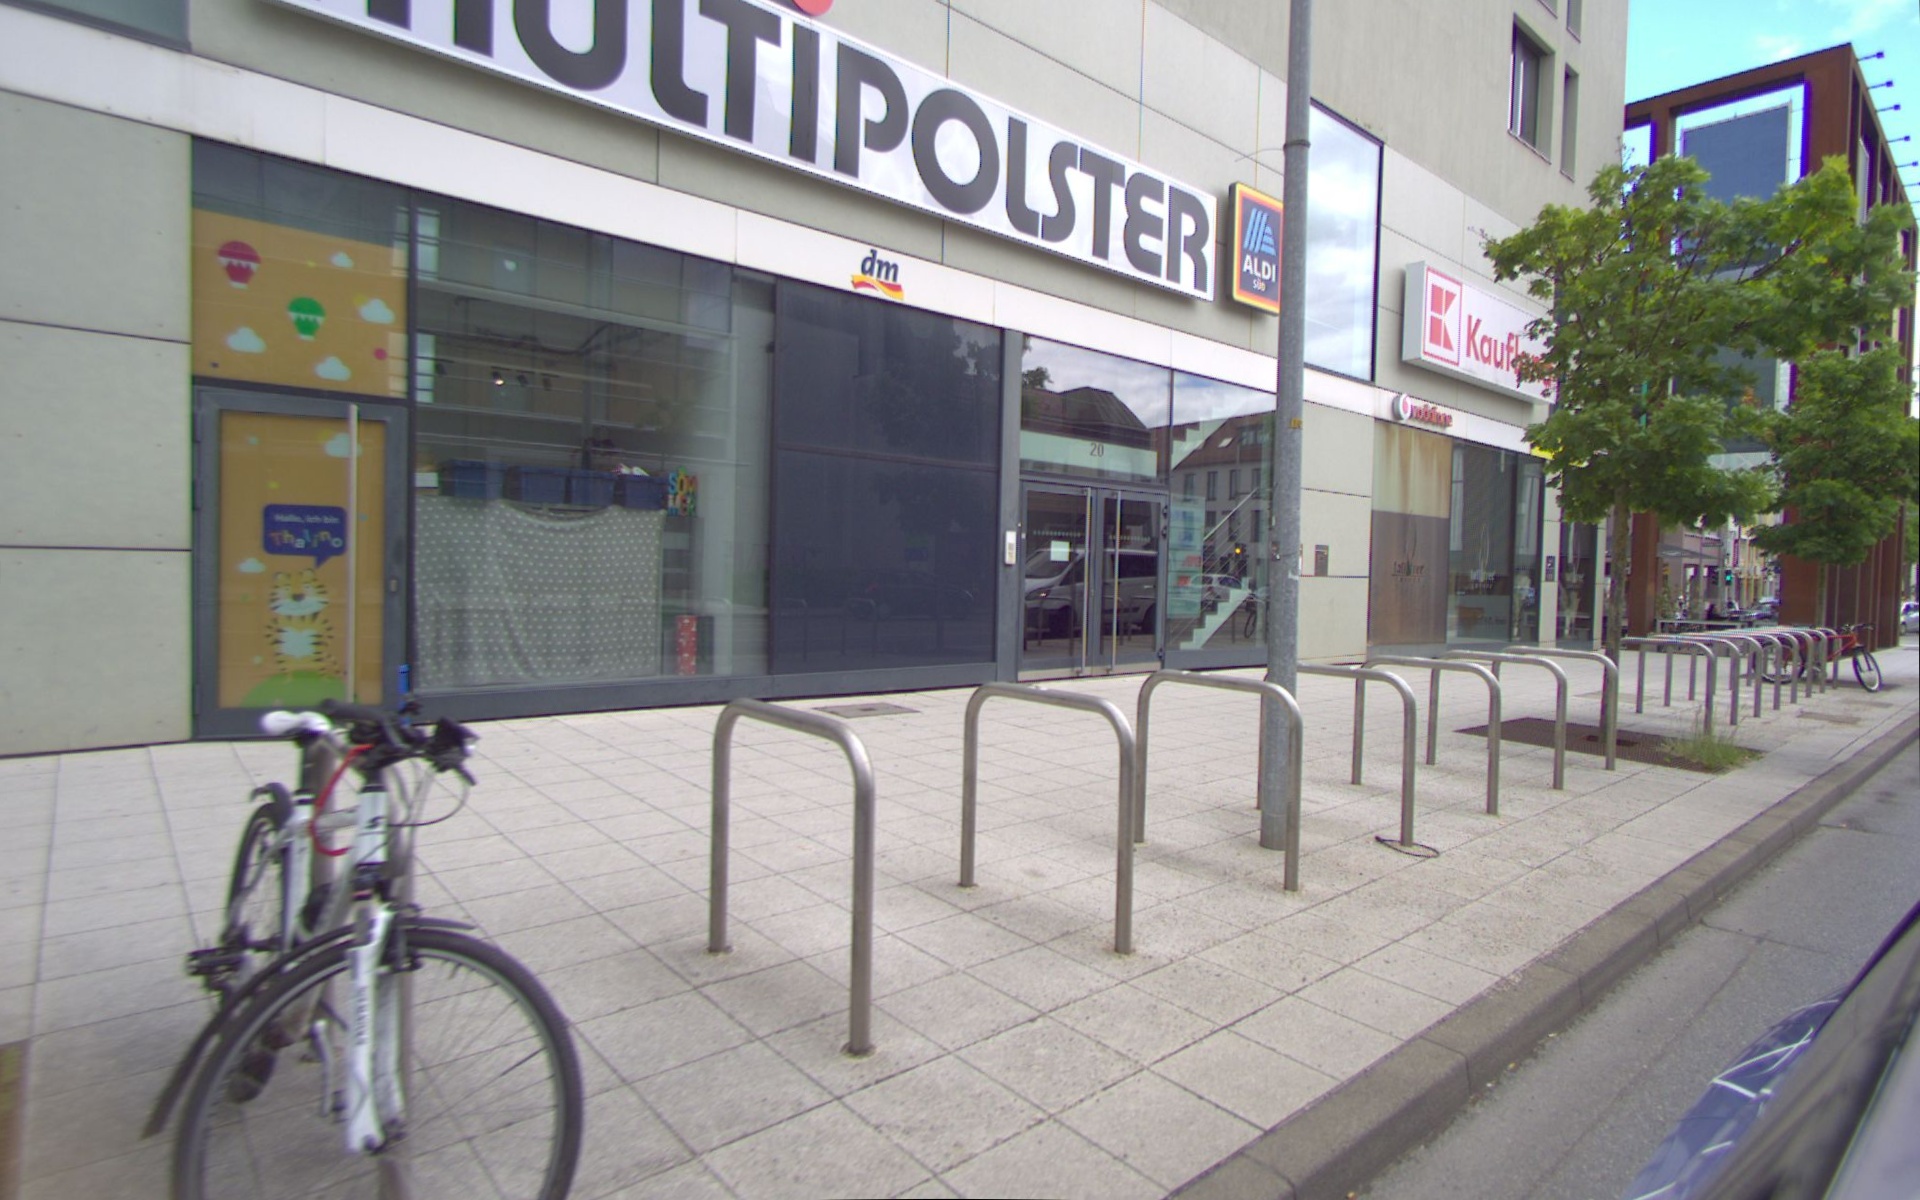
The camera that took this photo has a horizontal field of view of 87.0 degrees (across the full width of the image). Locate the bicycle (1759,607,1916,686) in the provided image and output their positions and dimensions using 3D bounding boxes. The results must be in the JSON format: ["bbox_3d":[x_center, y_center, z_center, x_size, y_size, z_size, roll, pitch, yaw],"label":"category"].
[{"bbox_3d":[13.264,0.681,15.341,1.740,1.034,0.445,4,3,44],"label":"bicycle"}]

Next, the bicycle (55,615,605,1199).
[{"bbox_3d":[-1.464,0.666,2.174,1.740,1.113,0.553,5,4,43],"label":"bicycle"}]
